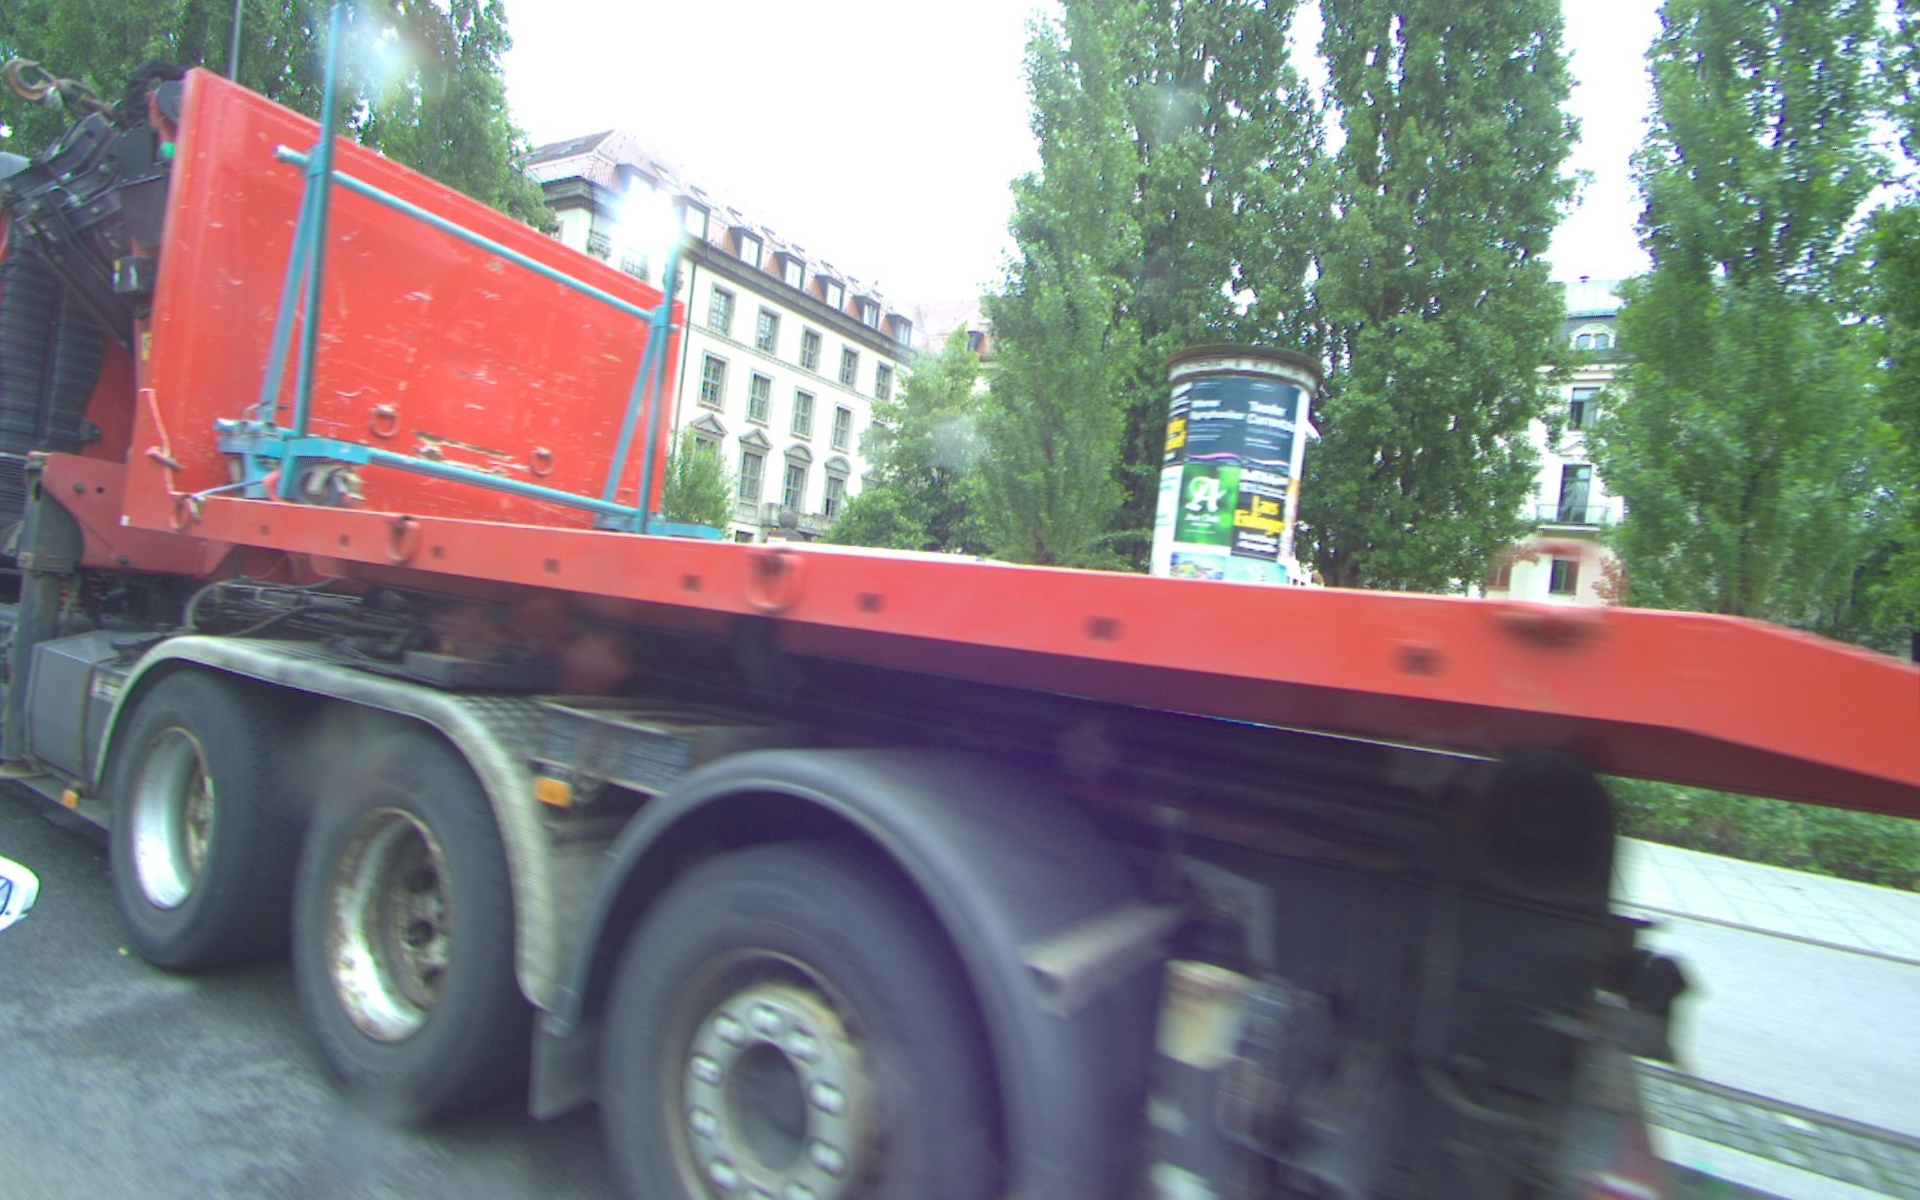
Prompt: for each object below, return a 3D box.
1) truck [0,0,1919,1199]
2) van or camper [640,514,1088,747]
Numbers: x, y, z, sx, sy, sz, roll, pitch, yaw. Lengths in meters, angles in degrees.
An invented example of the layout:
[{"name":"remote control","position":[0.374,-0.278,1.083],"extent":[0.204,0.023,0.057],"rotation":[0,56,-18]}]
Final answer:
[{"name":"truck","position":[-1.966,-0.552,4.500],"extent":[10.108,3.607,2.849],"rotation":[6,-1,32]},{"name":"van or camper","position":[-1.235,0.285,12.001],"extent":[4.903,2.037,2.007],"rotation":[7,-1,31]}]
